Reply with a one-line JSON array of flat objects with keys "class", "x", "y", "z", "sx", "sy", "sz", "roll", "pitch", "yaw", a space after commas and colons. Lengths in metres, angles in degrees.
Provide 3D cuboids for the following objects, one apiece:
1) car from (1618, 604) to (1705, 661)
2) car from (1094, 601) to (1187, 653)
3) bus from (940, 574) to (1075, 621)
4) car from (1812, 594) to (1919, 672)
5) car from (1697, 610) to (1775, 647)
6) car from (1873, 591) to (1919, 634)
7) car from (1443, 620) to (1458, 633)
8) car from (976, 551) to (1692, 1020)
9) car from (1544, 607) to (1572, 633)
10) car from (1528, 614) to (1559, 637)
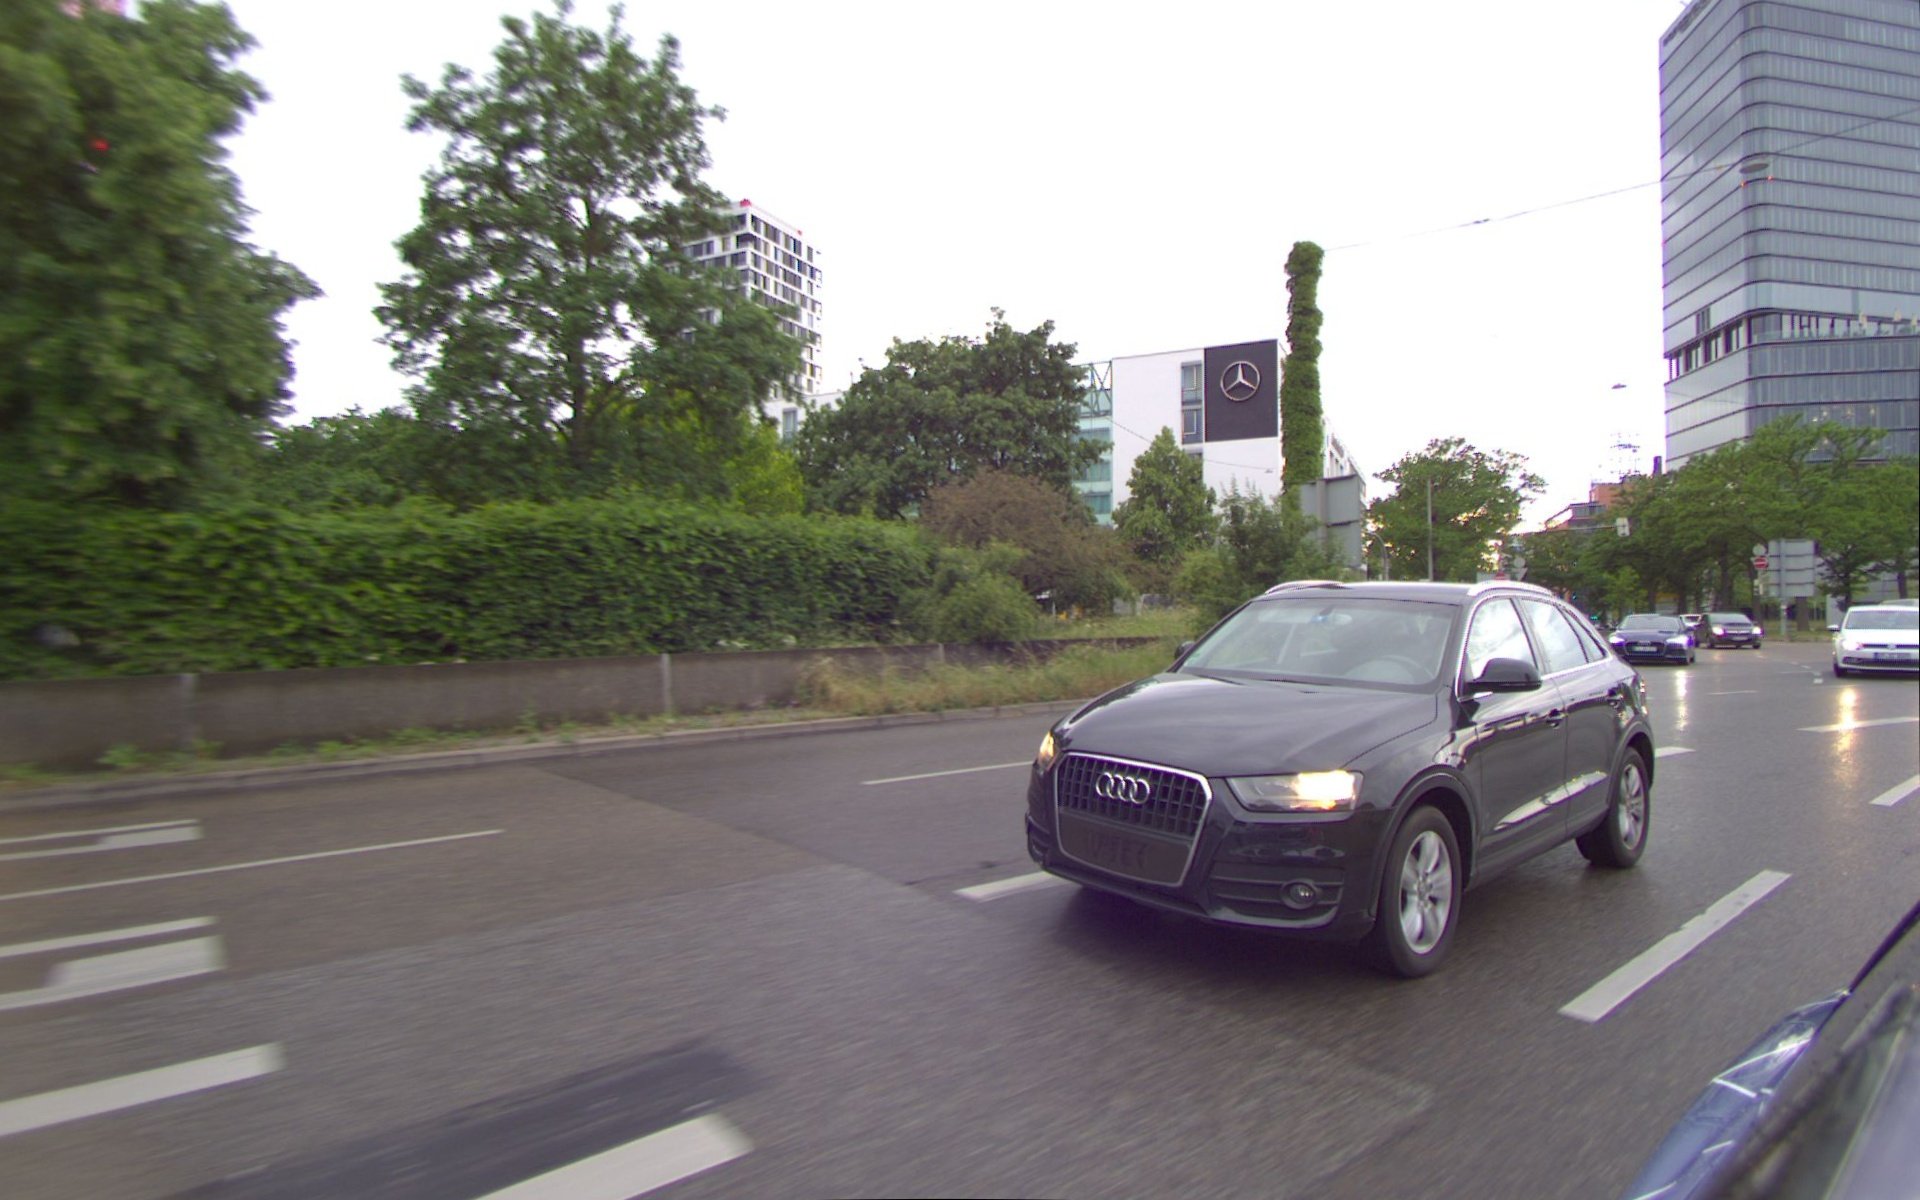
[{"class": "car", "x": 19.326, "y": 0.835, "z": 27.811, "sx": 1.751, "sy": 1.416, "sz": 3.945, "roll": -1, "pitch": 0, "yaw": 38}, {"class": "car", "x": 9.649, "y": 1.430, "z": 54.446, "sx": 1.896, "sy": 2.700, "sz": 4.797, "roll": 0, "pitch": -2, "yaw": -40}, {"class": "bus", "x": 3.269, "y": -0.131, "z": 74.677, "sx": 1.967, "sy": 3.241, "sz": 11.813, "roll": 0, "pitch": -1, "yaw": -44}, {"class": "car", "x": 19.281, "y": 0.639, "z": 21.111, "sx": 1.718, "sy": 1.491, "sz": 4.213, "roll": -2, "pitch": -2, "yaw": 33}, {"class": "car", "x": 31.308, "y": 1.121, "z": 40.940, "sx": 1.552, "sy": 1.433, "sz": 3.849, "roll": -1, "pitch": -1, "yaw": 23}, {"class": "car", "x": 60.564, "y": 0.786, "z": 63.925, "sx": 1.904, "sy": 2.618, "sz": 5.432, "roll": -1, "pitch": -1, "yaw": 15}, {"class": "car", "x": 70.000, "y": 3.766, "z": 144.412, "sx": 1.695, "sy": 1.731, "sz": 3.852, "roll": -1, "pitch": 0, "yaw": 23}, {"class": "car", "x": 2.178, "y": 0.609, "z": 5.318, "sx": 4.052, "sy": 1.553, "sz": 1.729, "roll": 0, "pitch": 0, "yaw": -39}, {"class": "car", "x": 49.156, "y": 1.600, "z": 83.210, "sx": 1.595, "sy": 2.039, "sz": 3.601, "roll": -1, "pitch": 0, "yaw": 25}, {"class": "car", "x": 42.206, "y": 1.840, "z": 73.240, "sx": 1.595, "sy": 1.533, "sz": 3.601, "roll": -1, "pitch": 0, "yaw": 25}]
